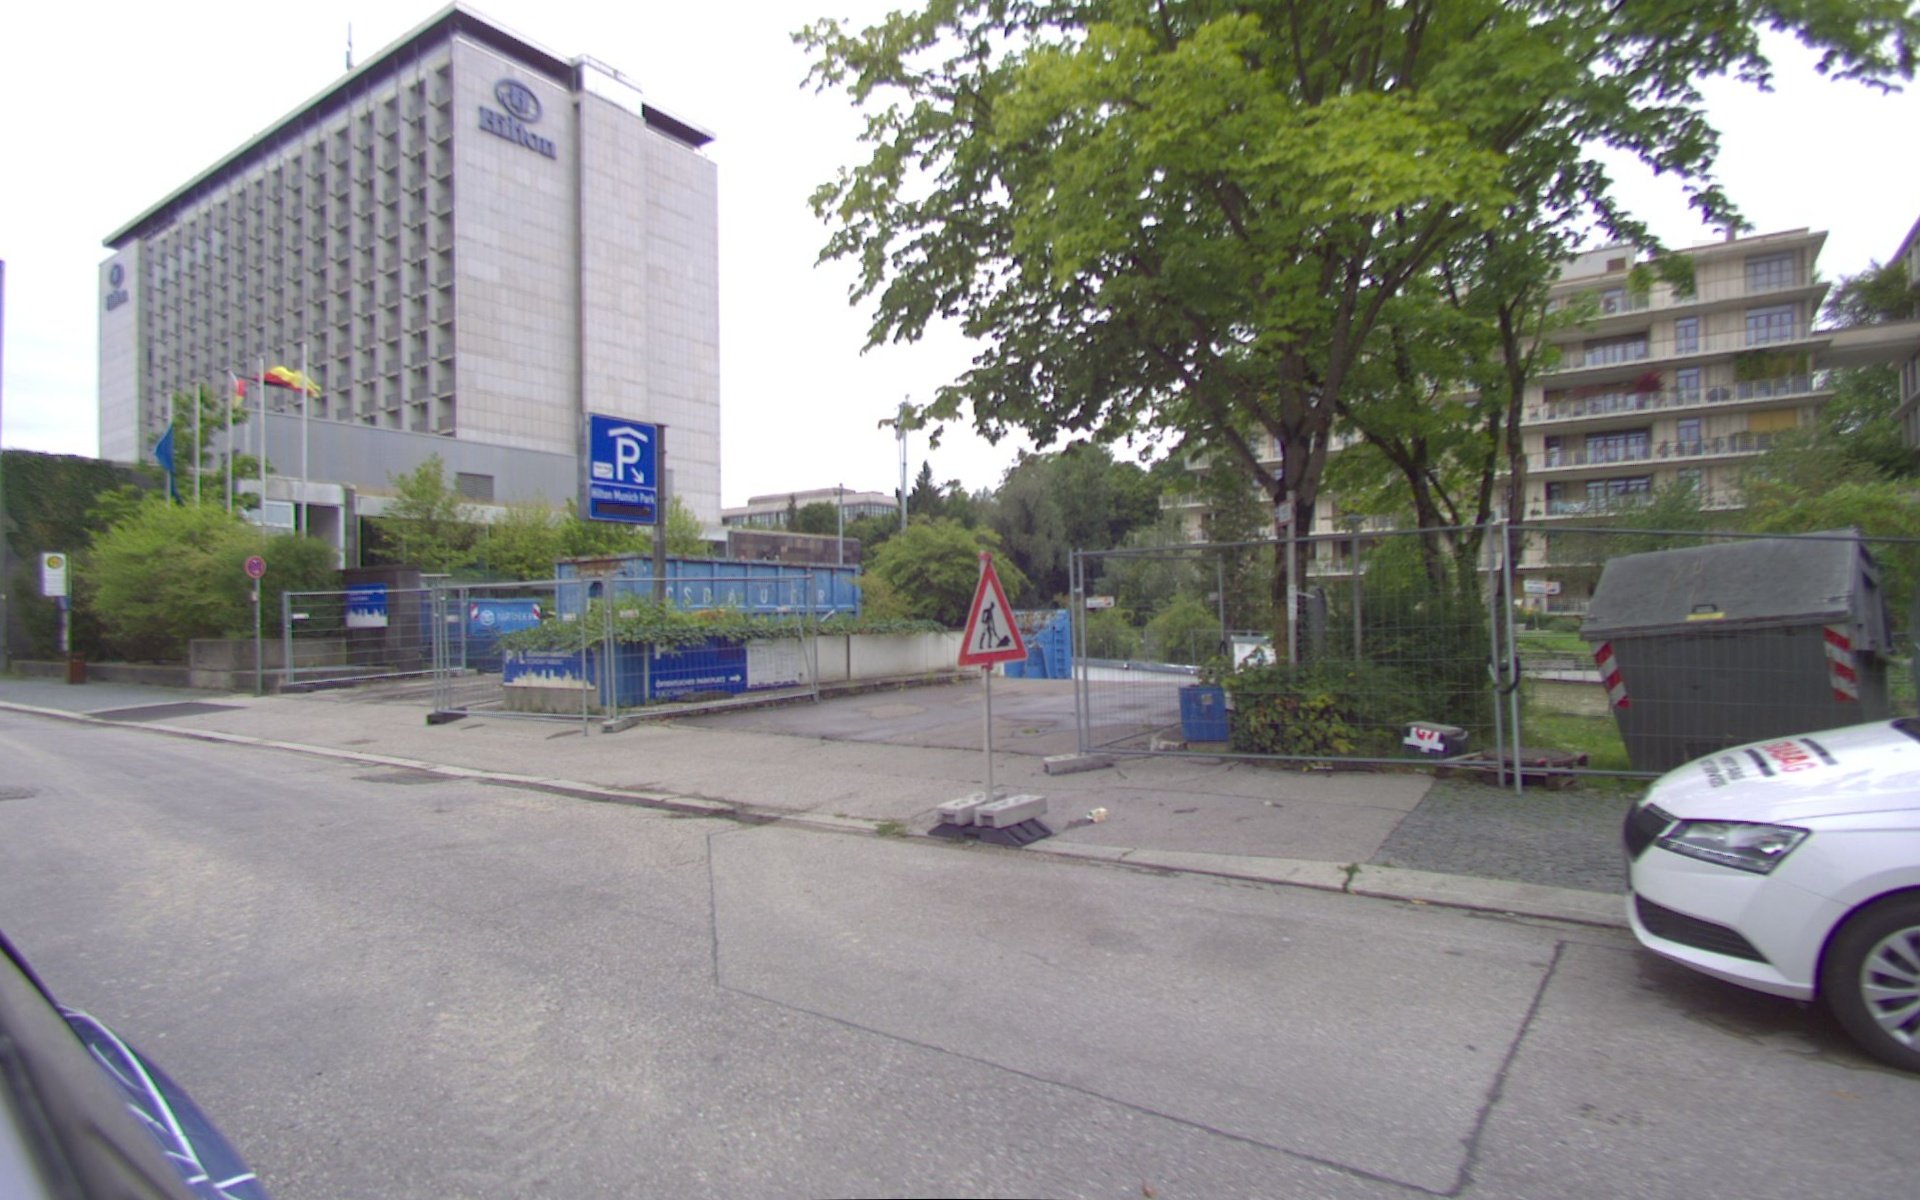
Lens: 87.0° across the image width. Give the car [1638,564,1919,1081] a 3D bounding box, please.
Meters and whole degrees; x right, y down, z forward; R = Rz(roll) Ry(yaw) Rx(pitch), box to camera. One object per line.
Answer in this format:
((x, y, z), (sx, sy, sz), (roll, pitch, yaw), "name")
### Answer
((4.624, 0.643, 2.998), (4.244, 1.561, 1.762), (-2, -2, 33), "car")
